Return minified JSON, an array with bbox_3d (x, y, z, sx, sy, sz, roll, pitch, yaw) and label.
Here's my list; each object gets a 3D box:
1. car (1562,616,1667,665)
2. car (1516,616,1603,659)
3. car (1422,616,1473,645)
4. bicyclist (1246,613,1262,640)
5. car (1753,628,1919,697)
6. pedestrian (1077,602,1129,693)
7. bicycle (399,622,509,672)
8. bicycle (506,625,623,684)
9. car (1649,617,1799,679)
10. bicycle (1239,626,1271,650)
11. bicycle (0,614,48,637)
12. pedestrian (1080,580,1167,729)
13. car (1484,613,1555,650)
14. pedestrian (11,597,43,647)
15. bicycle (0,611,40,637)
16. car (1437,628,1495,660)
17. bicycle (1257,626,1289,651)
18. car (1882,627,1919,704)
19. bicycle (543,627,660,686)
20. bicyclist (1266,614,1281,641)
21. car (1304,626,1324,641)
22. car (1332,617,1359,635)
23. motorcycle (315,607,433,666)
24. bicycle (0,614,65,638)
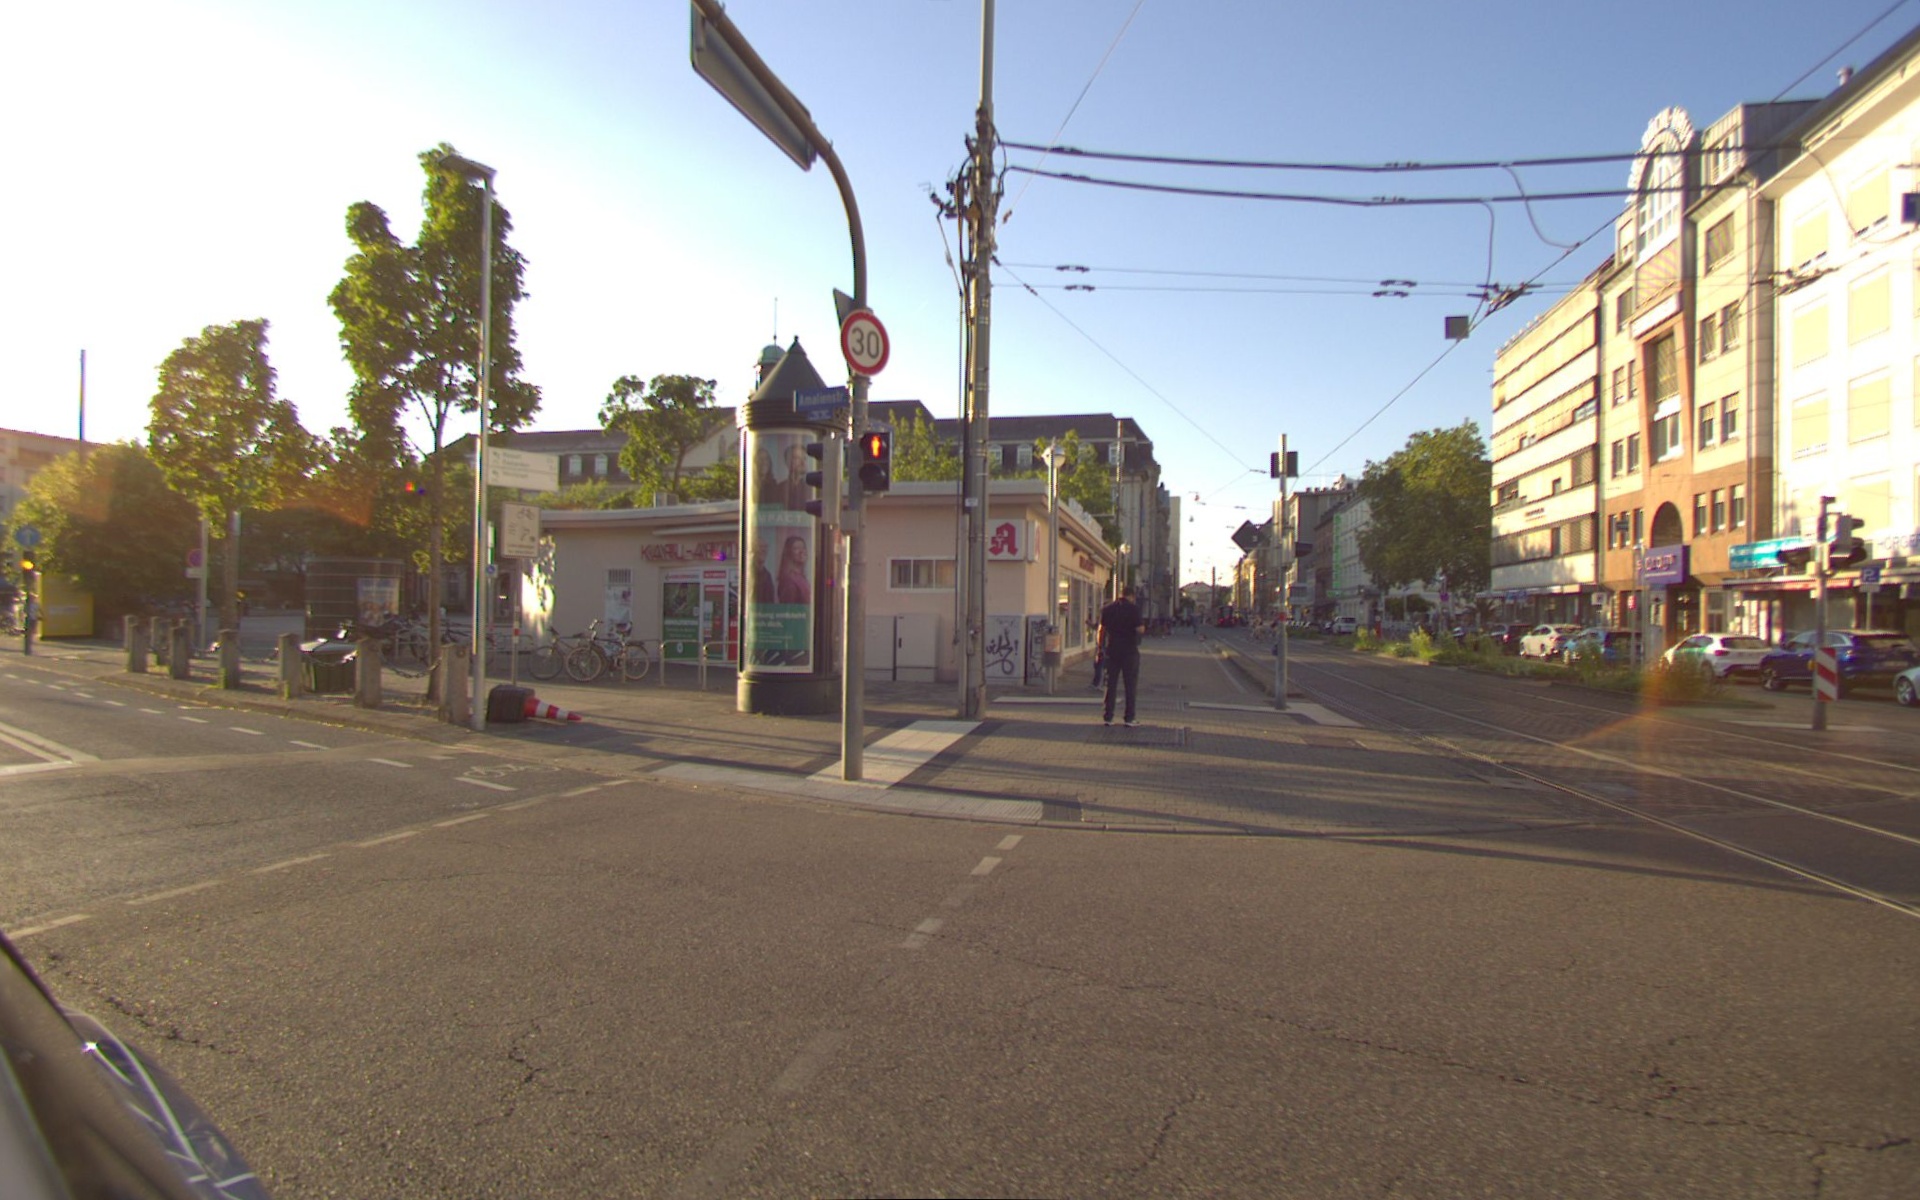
[{"bbox_3d":[24.713,1.486,38.408,2.030,1.750,4.586,-1,-1,16],"label":"car"},{"bbox_3d":[25.710,1.564,43.576,2.030,1.750,4.586,-1,-1,16],"label":"car"},{"bbox_3d":[30.277,1.877,62.996,2.030,1.750,4.586,-1,-1,16],"label":"car"},{"bbox_3d":[19.075,1.730,65.638,0.776,1.733,0.595,0,0,-34],"label":"bicyclist"},{"bbox_3d":[21.455,1.428,24.425,2.031,1.487,4.585,-1,-1,16],"label":"car"},{"bbox_3d":[2.694,0.882,19.165,0.894,1.689,0.779,0,0,2],"label":"pedestrian"},{"bbox_3d":[-11.756,1.077,23.570,0.778,1.096,2.155,1,-2,37],"label":"bicycle"},{"bbox_3d":[-8.004,1.082,20.591,0.776,1.096,2.199,0,0,30],"label":"bicycle"},{"bbox_3d":[23.031,1.399,30.750,2.030,1.750,4.586,-1,-1,16],"label":"car"},{"bbox_3d":[19.148,2.453,65.697,2.458,1.497,0.595,0,0,-34],"label":"bicycle"},{"bbox_3d":[-40.538,1.088,43.205,0.673,0.966,2.367,1,0,44],"label":"bicycle"},{"bbox_3d":[2.089,0.657,12.852,0.876,1.798,0.899,0,0,26],"label":"pedestrian"},{"bbox_3d":[27.762,1.528,50.382,2.030,1.750,4.586,-1,-1,16],"label":"car"},{"bbox_3d":[-32.325,0.745,35.075,0.907,1.689,0.768,1,0,45],"label":"pedestrian"},{"bbox_3d":[-41.821,1.058,44.233,0.673,1.079,2.367,1,0,44],"label":"bicycle"},{"bbox_3d":[28.712,2.471,57.582,2.030,1.750,4.586,-1,-1,16],"label":"car"},{"bbox_3d":[19.814,2.449,64.023,2.378,1.497,0.617,0,0,-34],"label":"bicycle"},{"bbox_3d":[20.488,1.337,19.881,1.784,1.587,4.277,-1,-1,17],"label":"car"},{"bbox_3d":[-7.046,1.083,20.004,0.776,1.096,2.174,0,-1,30],"label":"bicycle"},{"bbox_3d":[19.809,1.737,64.011,0.644,1.724,0.622,0,0,-34],"label":"bicyclist"},{"bbox_3d":[43.872,4.132,125.509,2.030,1.750,4.586,-1,-1,16],"label":"car"},{"bbox_3d":[38.522,2.624,101.234,2.030,1.750,4.586,-1,-1,16],"label":"car"},{"bbox_3d":[-14.569,0.877,25.218,0.779,1.376,2.419,-1,-1,42],"label":"motorcycle"},{"bbox_3d":[-39.441,1.089,42.787,0.673,0.966,2.367,1,0,44],"label":"bicycle"}]
